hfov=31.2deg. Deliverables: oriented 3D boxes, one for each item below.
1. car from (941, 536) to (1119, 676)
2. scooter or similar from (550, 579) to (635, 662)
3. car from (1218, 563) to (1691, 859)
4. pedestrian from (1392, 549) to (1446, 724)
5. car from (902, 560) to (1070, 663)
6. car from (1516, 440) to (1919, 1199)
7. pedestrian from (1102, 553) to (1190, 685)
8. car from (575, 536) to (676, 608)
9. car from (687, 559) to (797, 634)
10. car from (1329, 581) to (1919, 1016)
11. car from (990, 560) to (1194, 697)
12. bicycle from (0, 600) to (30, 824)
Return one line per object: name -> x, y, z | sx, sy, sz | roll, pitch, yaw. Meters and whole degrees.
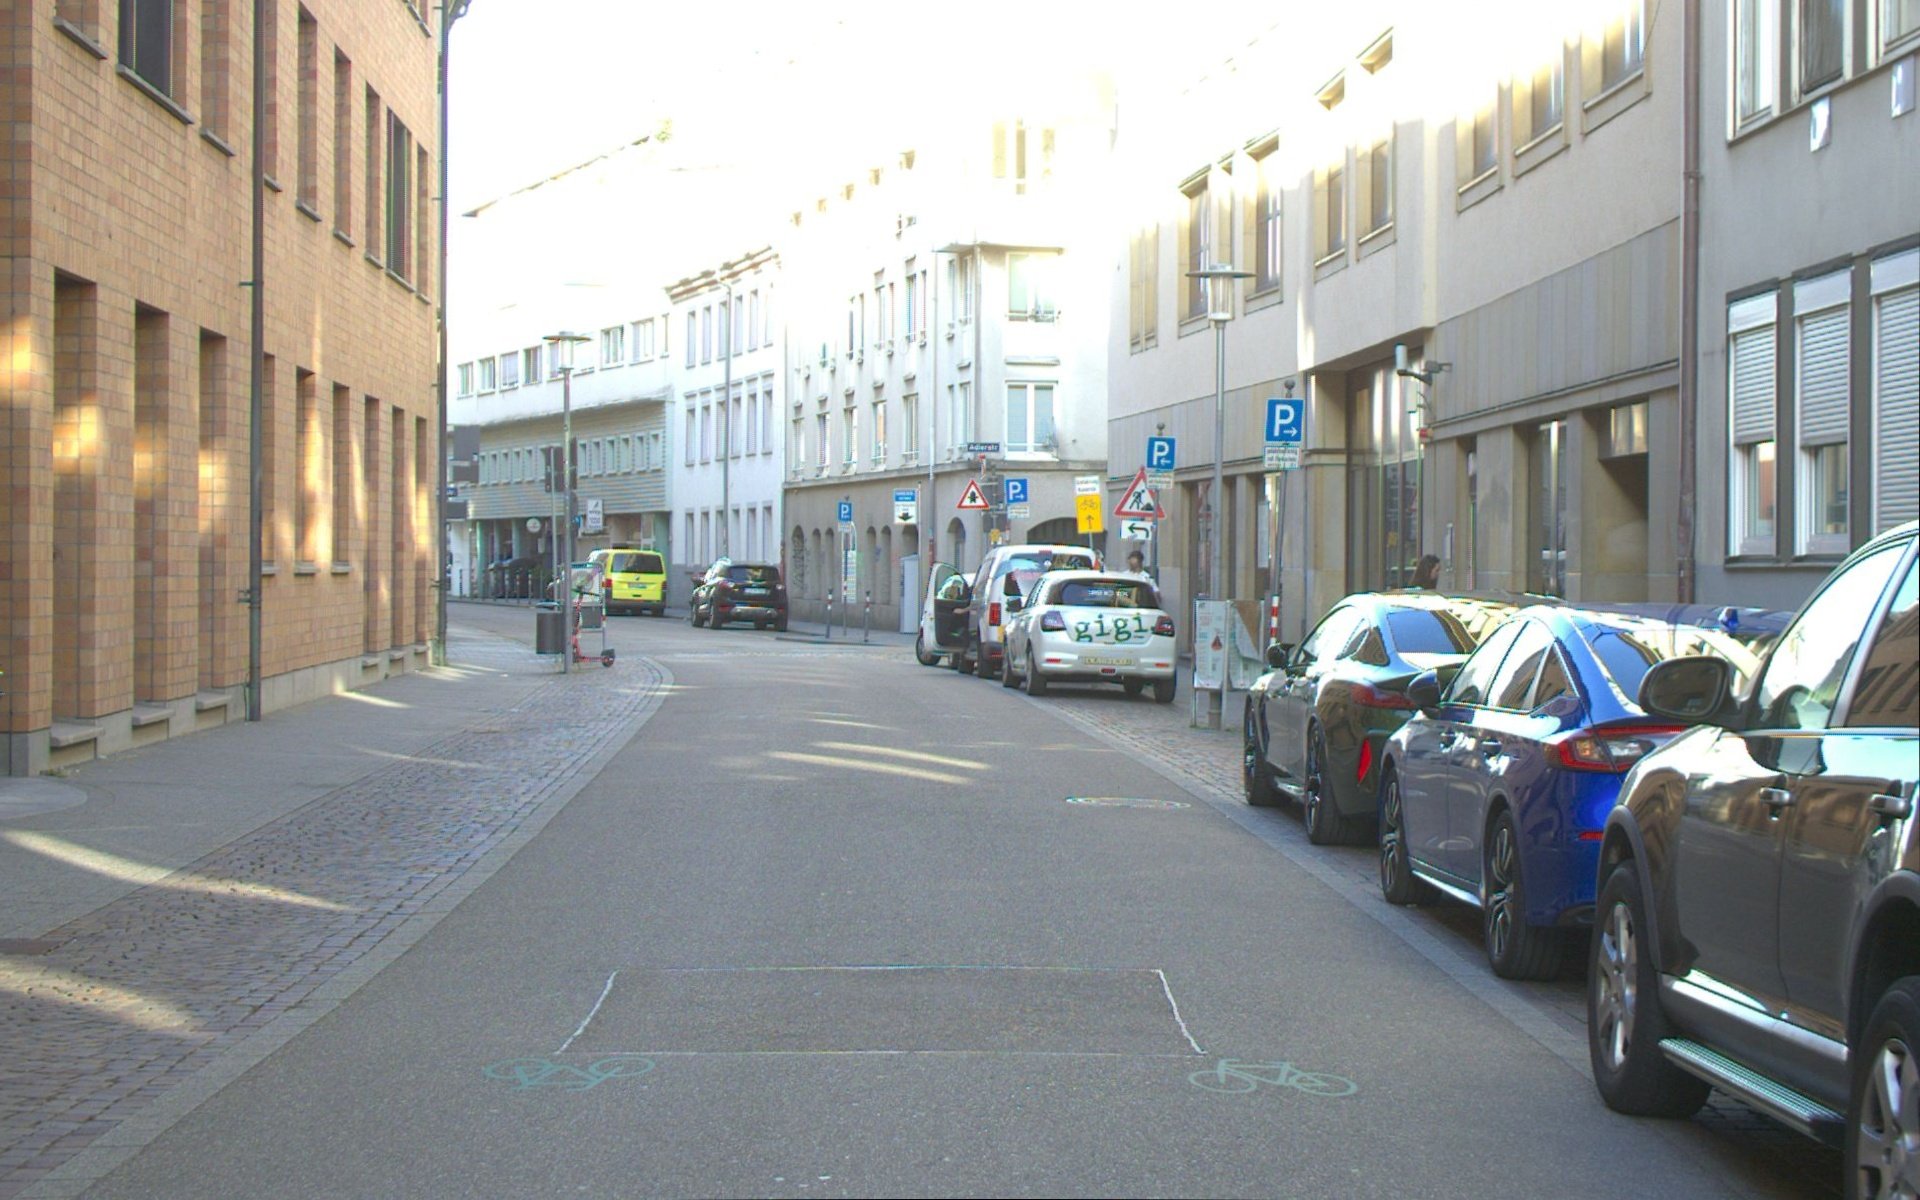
car -> 0.906, 0.051, 47.736 | 1.830, 1.785, 5.215 | 2, 0, -5
scooter or similar -> -5.492, 0.301, 51.455 | 0.698, 1.213, 1.355 | 0, 1, 22
car -> 2.753, 0.547, 20.378 | 1.894, 1.448, 5.226 | 2, 1, -1
pedestrian -> 4.392, 0.342, 32.857 | 0.481, 1.649, 0.538 | 0, 1, 11
car -> 0.362, 0.156, 53.656 | 1.888, 1.513, 4.064 | 1, 1, -10
car -> 2.806, 0.599, 8.159 | 2.103, 1.779, 5.052 | 2, 1, 0
pedestrian -> 2.576, 0.258, 47.780 | 1.042, 1.795, 1.199 | 1, 0, -5
car -> -9.690, -0.827, 99.356 | 2.052, 2.007, 4.176 | 0, 1, -18
car -> -5.319, -0.099, 83.295 | 1.967, 1.686, 4.102 | 2, 1, -13
car -> 2.809, 0.686, 14.344 | 1.807, 1.408, 4.790 | 3, 1, -2
car -> 1.532, 0.304, 41.461 | 1.840, 1.473, 4.169 | 3, 1, -6
bicycle -> -5.394, 0.592, 18.296 | 0.631, 1.158, 1.804 | 3, 1, -10
